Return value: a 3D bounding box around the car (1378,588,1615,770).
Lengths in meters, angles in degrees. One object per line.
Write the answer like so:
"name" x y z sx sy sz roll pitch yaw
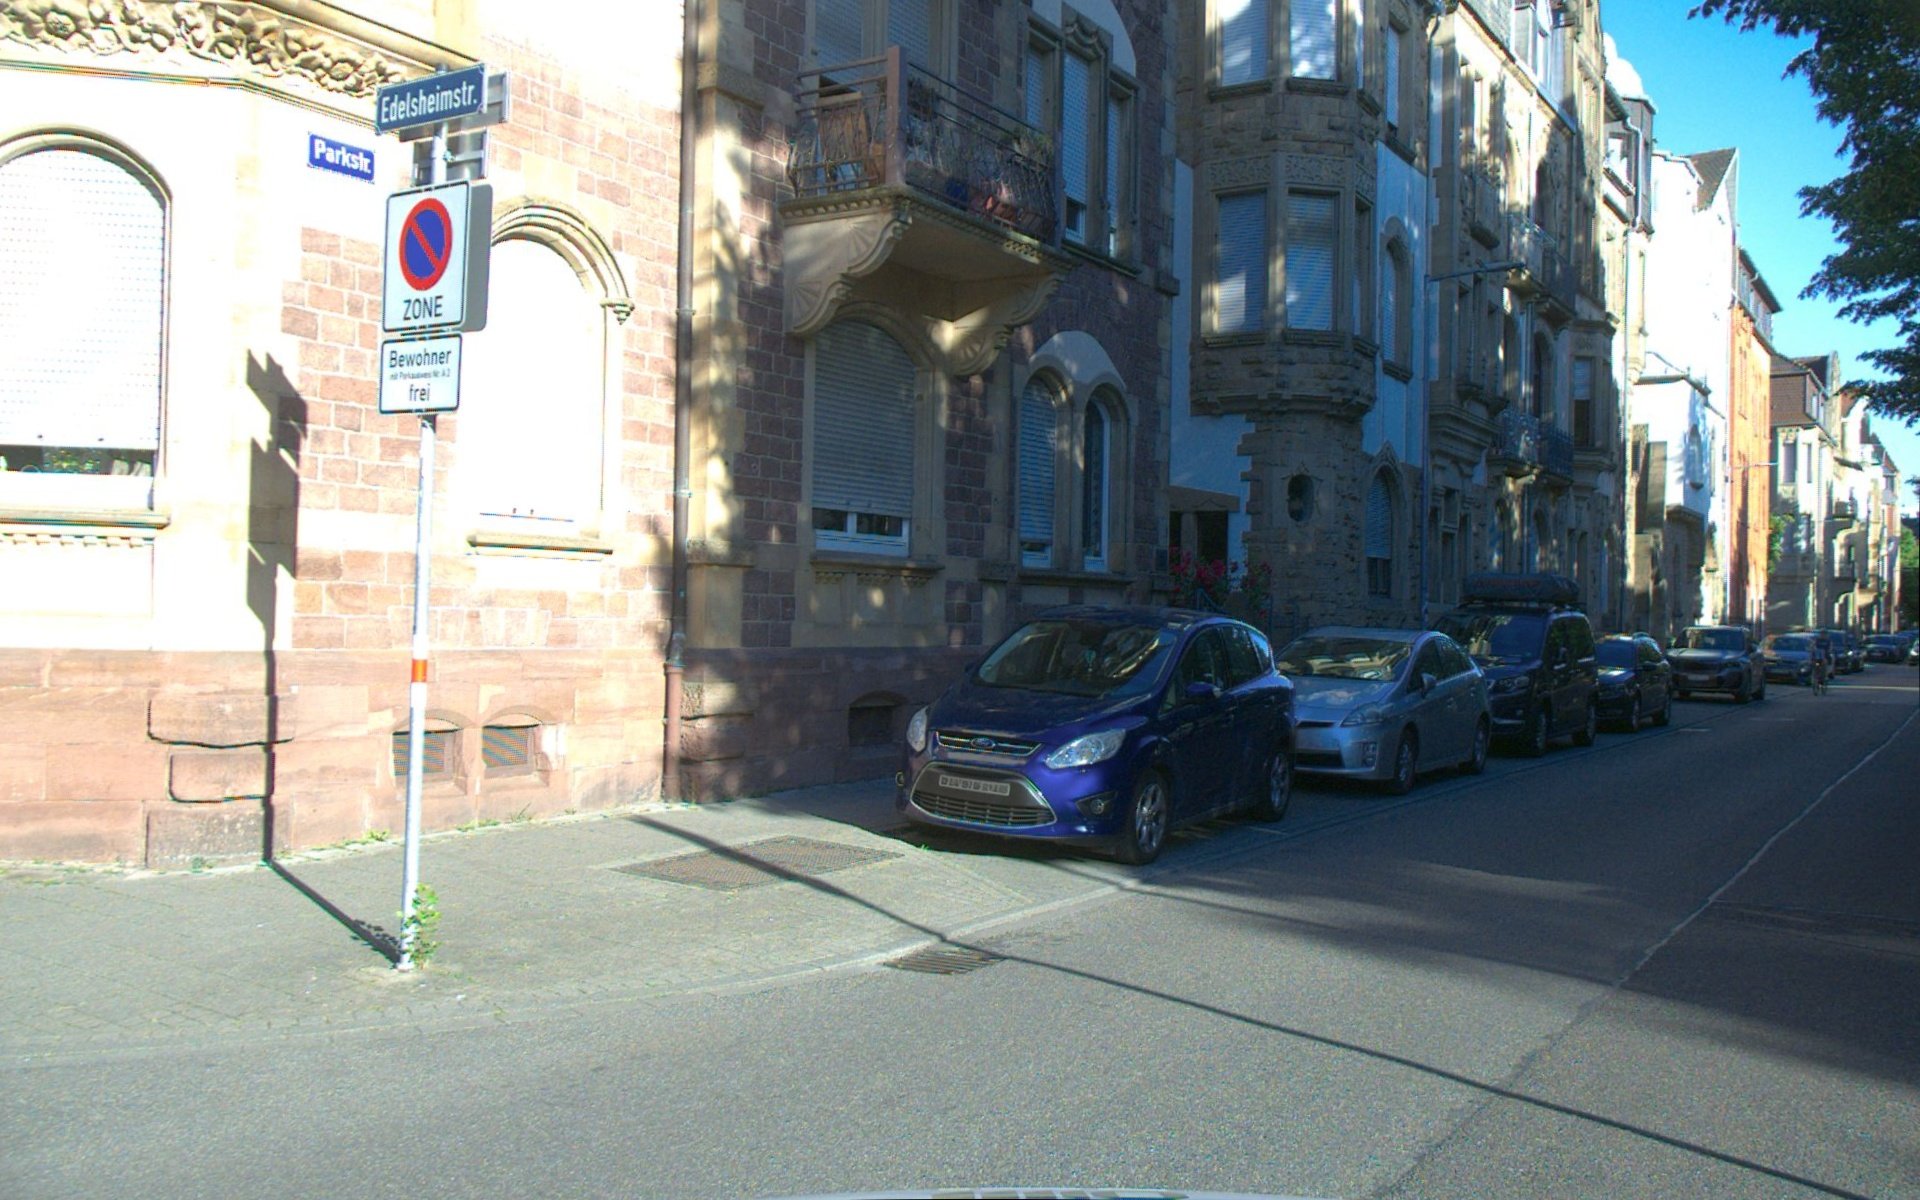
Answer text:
"car" 7.009 0.953 21.284 1.932 2.008 4.488 3 0 30

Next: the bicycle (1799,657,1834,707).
"bicycle" 21.899 2.072 42.271 0.738 1.199 2.616 0 -1 29

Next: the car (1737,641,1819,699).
"car" 25.038 2.143 50.568 1.724 1.543 4.103 6 1 32

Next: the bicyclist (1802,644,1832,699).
"bicyclist" 21.959 1.830 42.364 0.652 1.369 1.058 0 -1 29

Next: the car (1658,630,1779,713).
"car" 16.891 1.595 36.724 2.012 1.650 4.386 1 -2 30

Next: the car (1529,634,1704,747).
"car" 10.697 1.457 26.755 1.699 1.602 4.694 1 -2 33

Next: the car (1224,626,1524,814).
"car" 4.265 1.085 16.490 1.698 1.525 4.446 3 0 30

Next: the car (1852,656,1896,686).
"car" 49.651 3.851 89.796 1.957 1.512 3.990 1 -2 31

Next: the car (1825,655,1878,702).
"car" 34.153 3.007 63.313 1.601 1.694 3.959 1 -2 31

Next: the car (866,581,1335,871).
"car" 1.228 0.841 12.068 1.698 1.650 4.249 3 -1 30
